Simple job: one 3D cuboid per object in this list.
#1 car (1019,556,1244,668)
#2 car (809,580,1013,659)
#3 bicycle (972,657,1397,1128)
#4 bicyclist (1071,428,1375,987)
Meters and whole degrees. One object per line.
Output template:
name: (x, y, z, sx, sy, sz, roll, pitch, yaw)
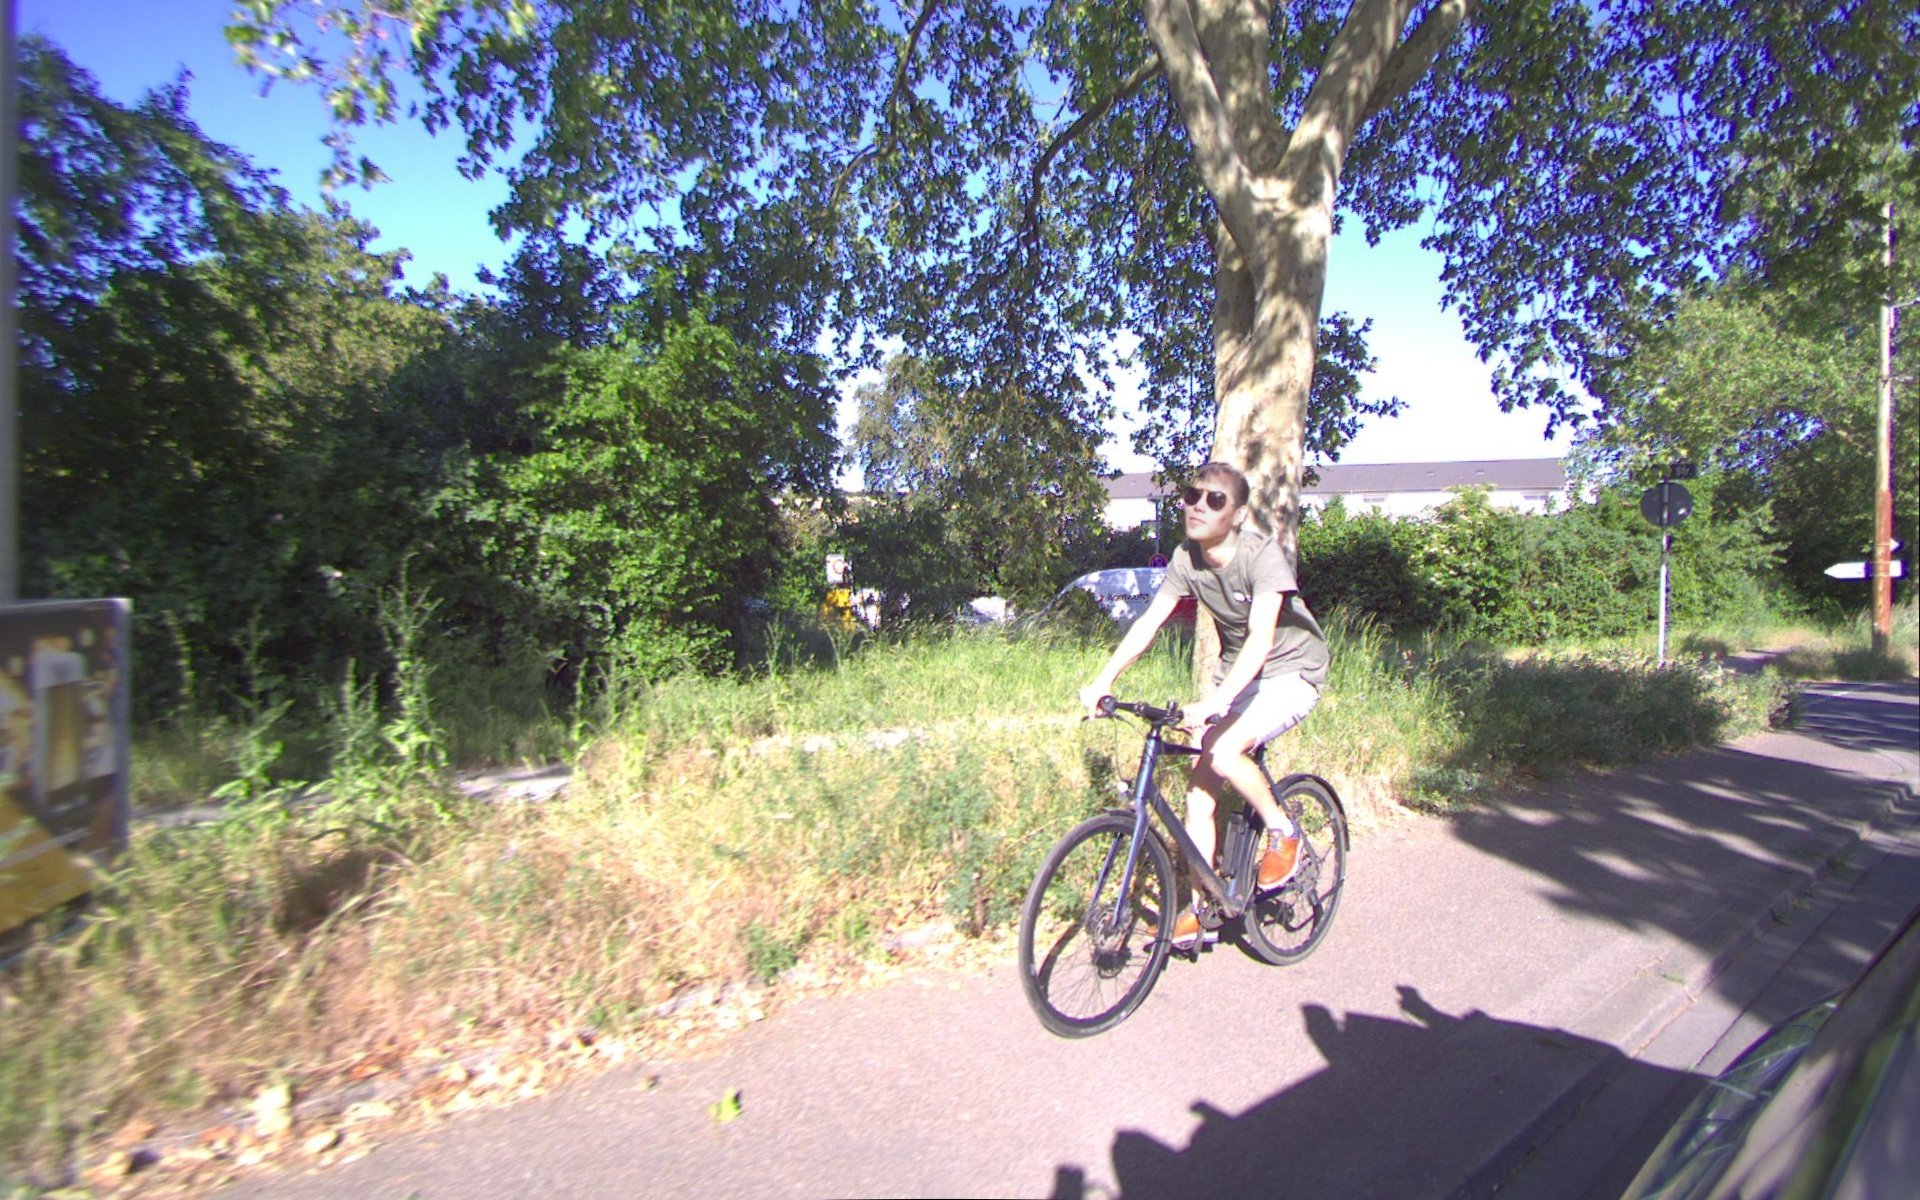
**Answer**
car: (4.155, 0.279, 24.535, 4.949, 2.470, 2.309, 0, -1, 26)
car: (-1.332, 0.485, 27.405, 5.097, 1.967, 2.273, 0, 0, 26)
bicycle: (0.858, 0.825, 3.466, 1.791, 1.167, 0.441, 0, 0, -41)
bicyclist: (0.923, 0.311, 3.512, 0.893, 1.649, 0.614, 0, 0, -41)
